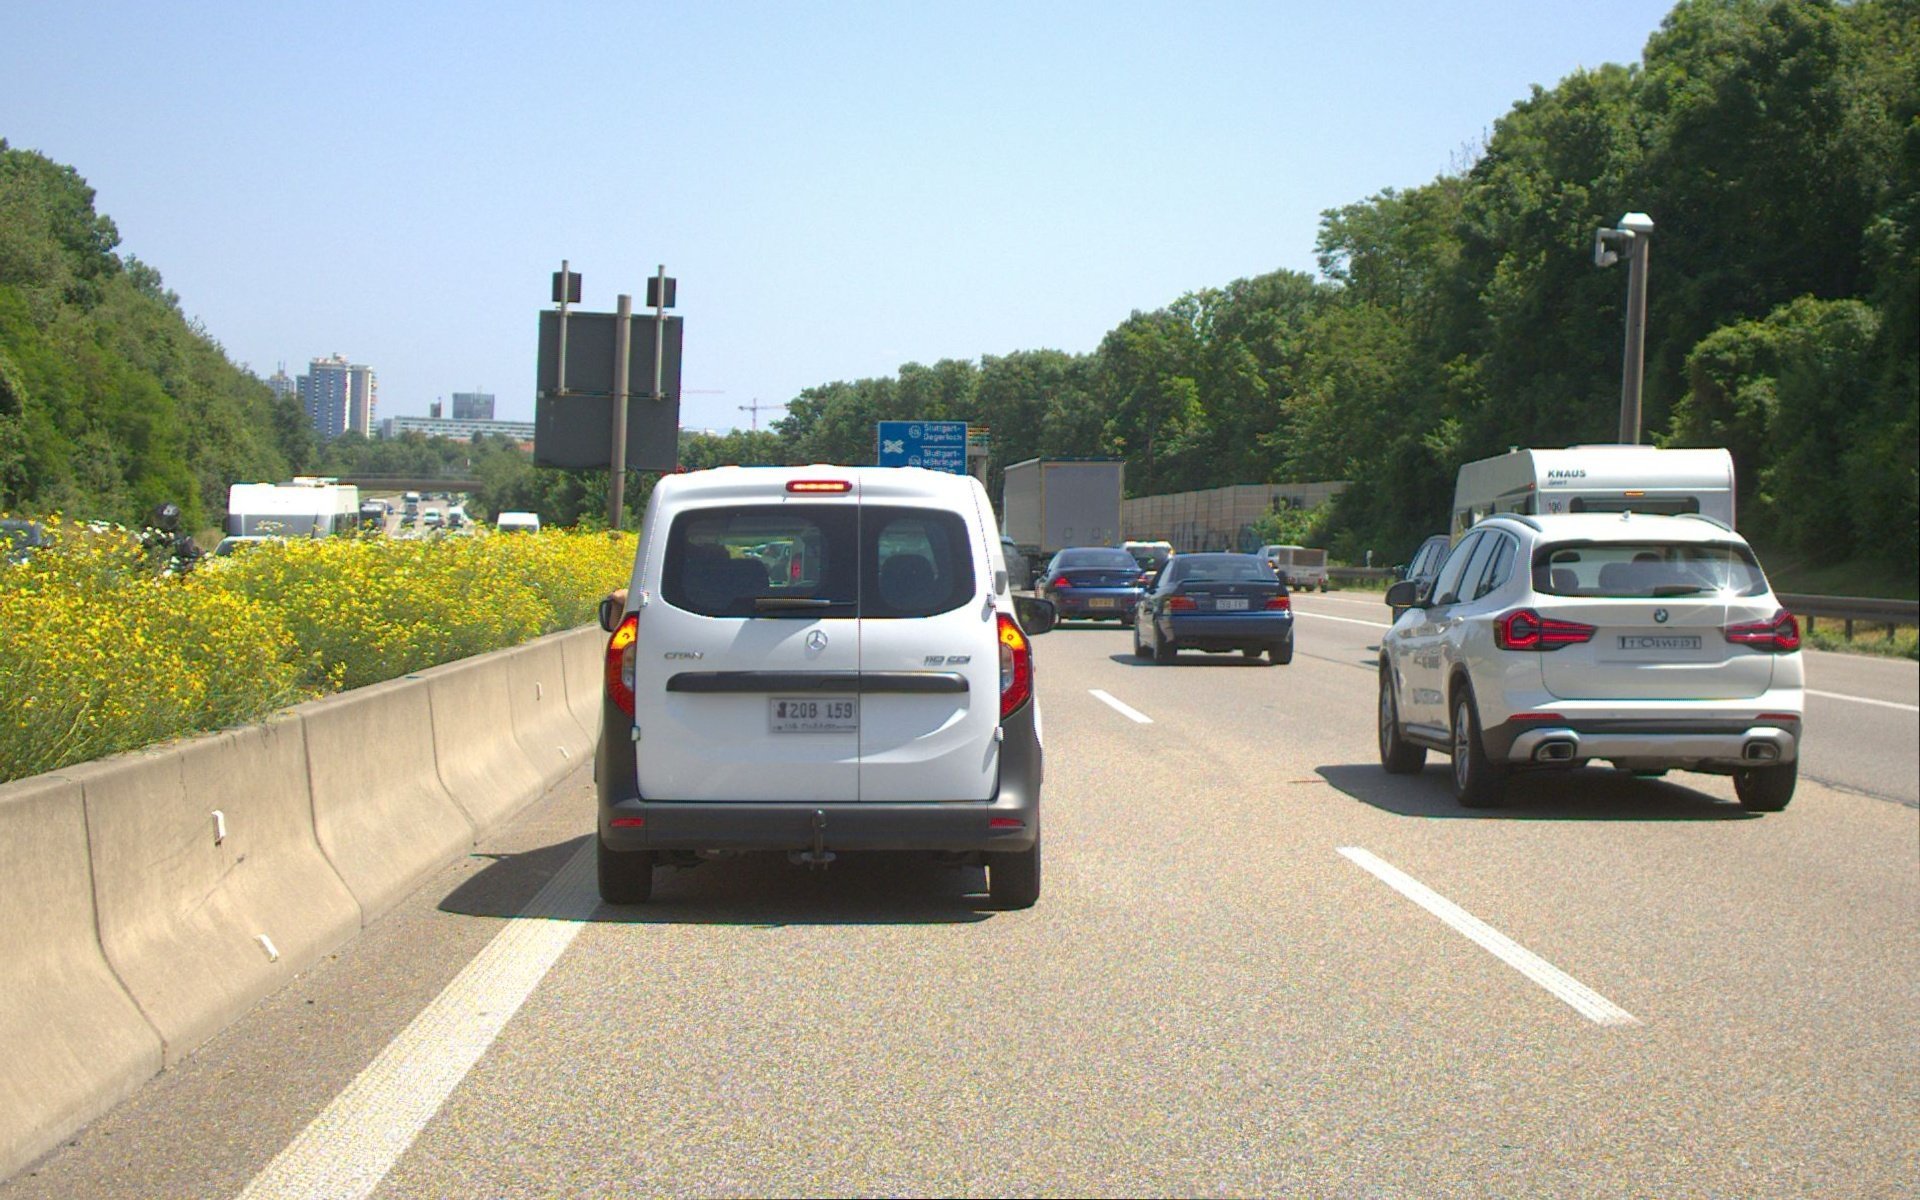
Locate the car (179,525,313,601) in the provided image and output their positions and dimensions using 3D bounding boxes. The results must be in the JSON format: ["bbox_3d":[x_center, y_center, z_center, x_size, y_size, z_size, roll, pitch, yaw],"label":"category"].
[{"bbox_3d":[-14.123,-0.751,68.204,1.755,1.434,4.610,1,1,-1],"label":"car"}]

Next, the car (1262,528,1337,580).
[{"bbox_3d":[10.274,-1.413,104.212,1.788,1.514,4.000,1,1,-1],"label":"car"}]

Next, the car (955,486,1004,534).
[{"bbox_3d":[0.805,-3.817,146.087,1.993,2.007,4.000,0,1,-1],"label":"car"}]

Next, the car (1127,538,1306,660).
[{"bbox_3d":[3.132,-0.044,42.744,1.824,1.419,4.000,1,1,-1],"label":"car"}]

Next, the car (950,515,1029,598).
[{"bbox_3d":[0.711,-1.095,85.061,1.824,1.982,4.000,1,1,-1],"label":"car"}]

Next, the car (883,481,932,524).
[{"bbox_3d":[-2.504,-4.619,163.071,1.993,2.007,4.001,0,1,-5],"label":"car"}]

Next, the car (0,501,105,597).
[{"bbox_3d":[-17.008,-0.949,62.741,1.755,1.690,4.423,1,1,-1],"label":"car"}]

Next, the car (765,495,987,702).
[{"bbox_3d":[-0.808,-0.055,33.118,1.993,1.853,4.000,1,1,-1],"label":"car"}]

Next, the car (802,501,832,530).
[{"bbox_3d":[-9.862,-5.809,236.897,1.993,2.007,4.000,1,1,-1],"label":"car"}]

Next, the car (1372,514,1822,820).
[{"bbox_3d":[3.672,0.315,20.502,1.871,1.602,3.879,1,2,-1],"label":"car"}]

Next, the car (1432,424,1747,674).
[{"bbox_3d":[7.415,-0.629,41.295,2.479,2.756,6.220,1,1,-1],"label":"car"}]

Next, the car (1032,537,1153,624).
[{"bbox_3d":[2.249,-0.366,59.307,1.824,1.419,4.000,1,1,-1],"label":"car"}]

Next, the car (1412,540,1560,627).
[{"bbox_3d":[8.965,-0.308,58.868,1.824,1.419,4.000,1,1,-1],"label":"car"}]

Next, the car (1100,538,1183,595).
[{"bbox_3d":[4.688,-0.888,89.150,1.824,1.419,4.000,1,1,-1],"label":"car"}]

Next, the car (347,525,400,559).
[{"bbox_3d":[-25.599,-2.526,150.169,1.788,1.449,3.542,1,1,-1],"label":"car"}]

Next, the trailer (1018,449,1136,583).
[{"bbox_3d":[3.600,-2.619,108.375,3.082,3.972,10.324,1,1,-1],"label":"trailer"}]

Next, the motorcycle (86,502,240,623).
[{"bbox_3d":[-8.312,-0.402,35.987,1.040,1.211,2.614,1,1,-1],"label":"motorcycle"}]

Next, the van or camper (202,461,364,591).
[{"bbox_3d":[-14.496,-1.590,74.104,2.308,2.627,7.400,1,1,-2],"label":"van or camper"}]

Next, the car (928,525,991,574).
[{"bbox_3d":[-0.029,-1.552,104.833,1.824,1.442,4.000,1,1,-1],"label":"car"}]

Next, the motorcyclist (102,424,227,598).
[{"bbox_3d":[-8.306,-0.928,35.948,1.031,1.779,1.284,0,1,-1],"label":"motorcyclist"}]

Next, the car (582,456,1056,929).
[{"bbox_3d":[-0.607,0.313,15.202,1.802,1.802,4.001,1,1,-2],"label":"car"}]

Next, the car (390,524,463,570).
[{"bbox_3d":[-18.382,-1.839,118.580,1.993,1.569,4.000,1,1,-1],"label":"car"}]
